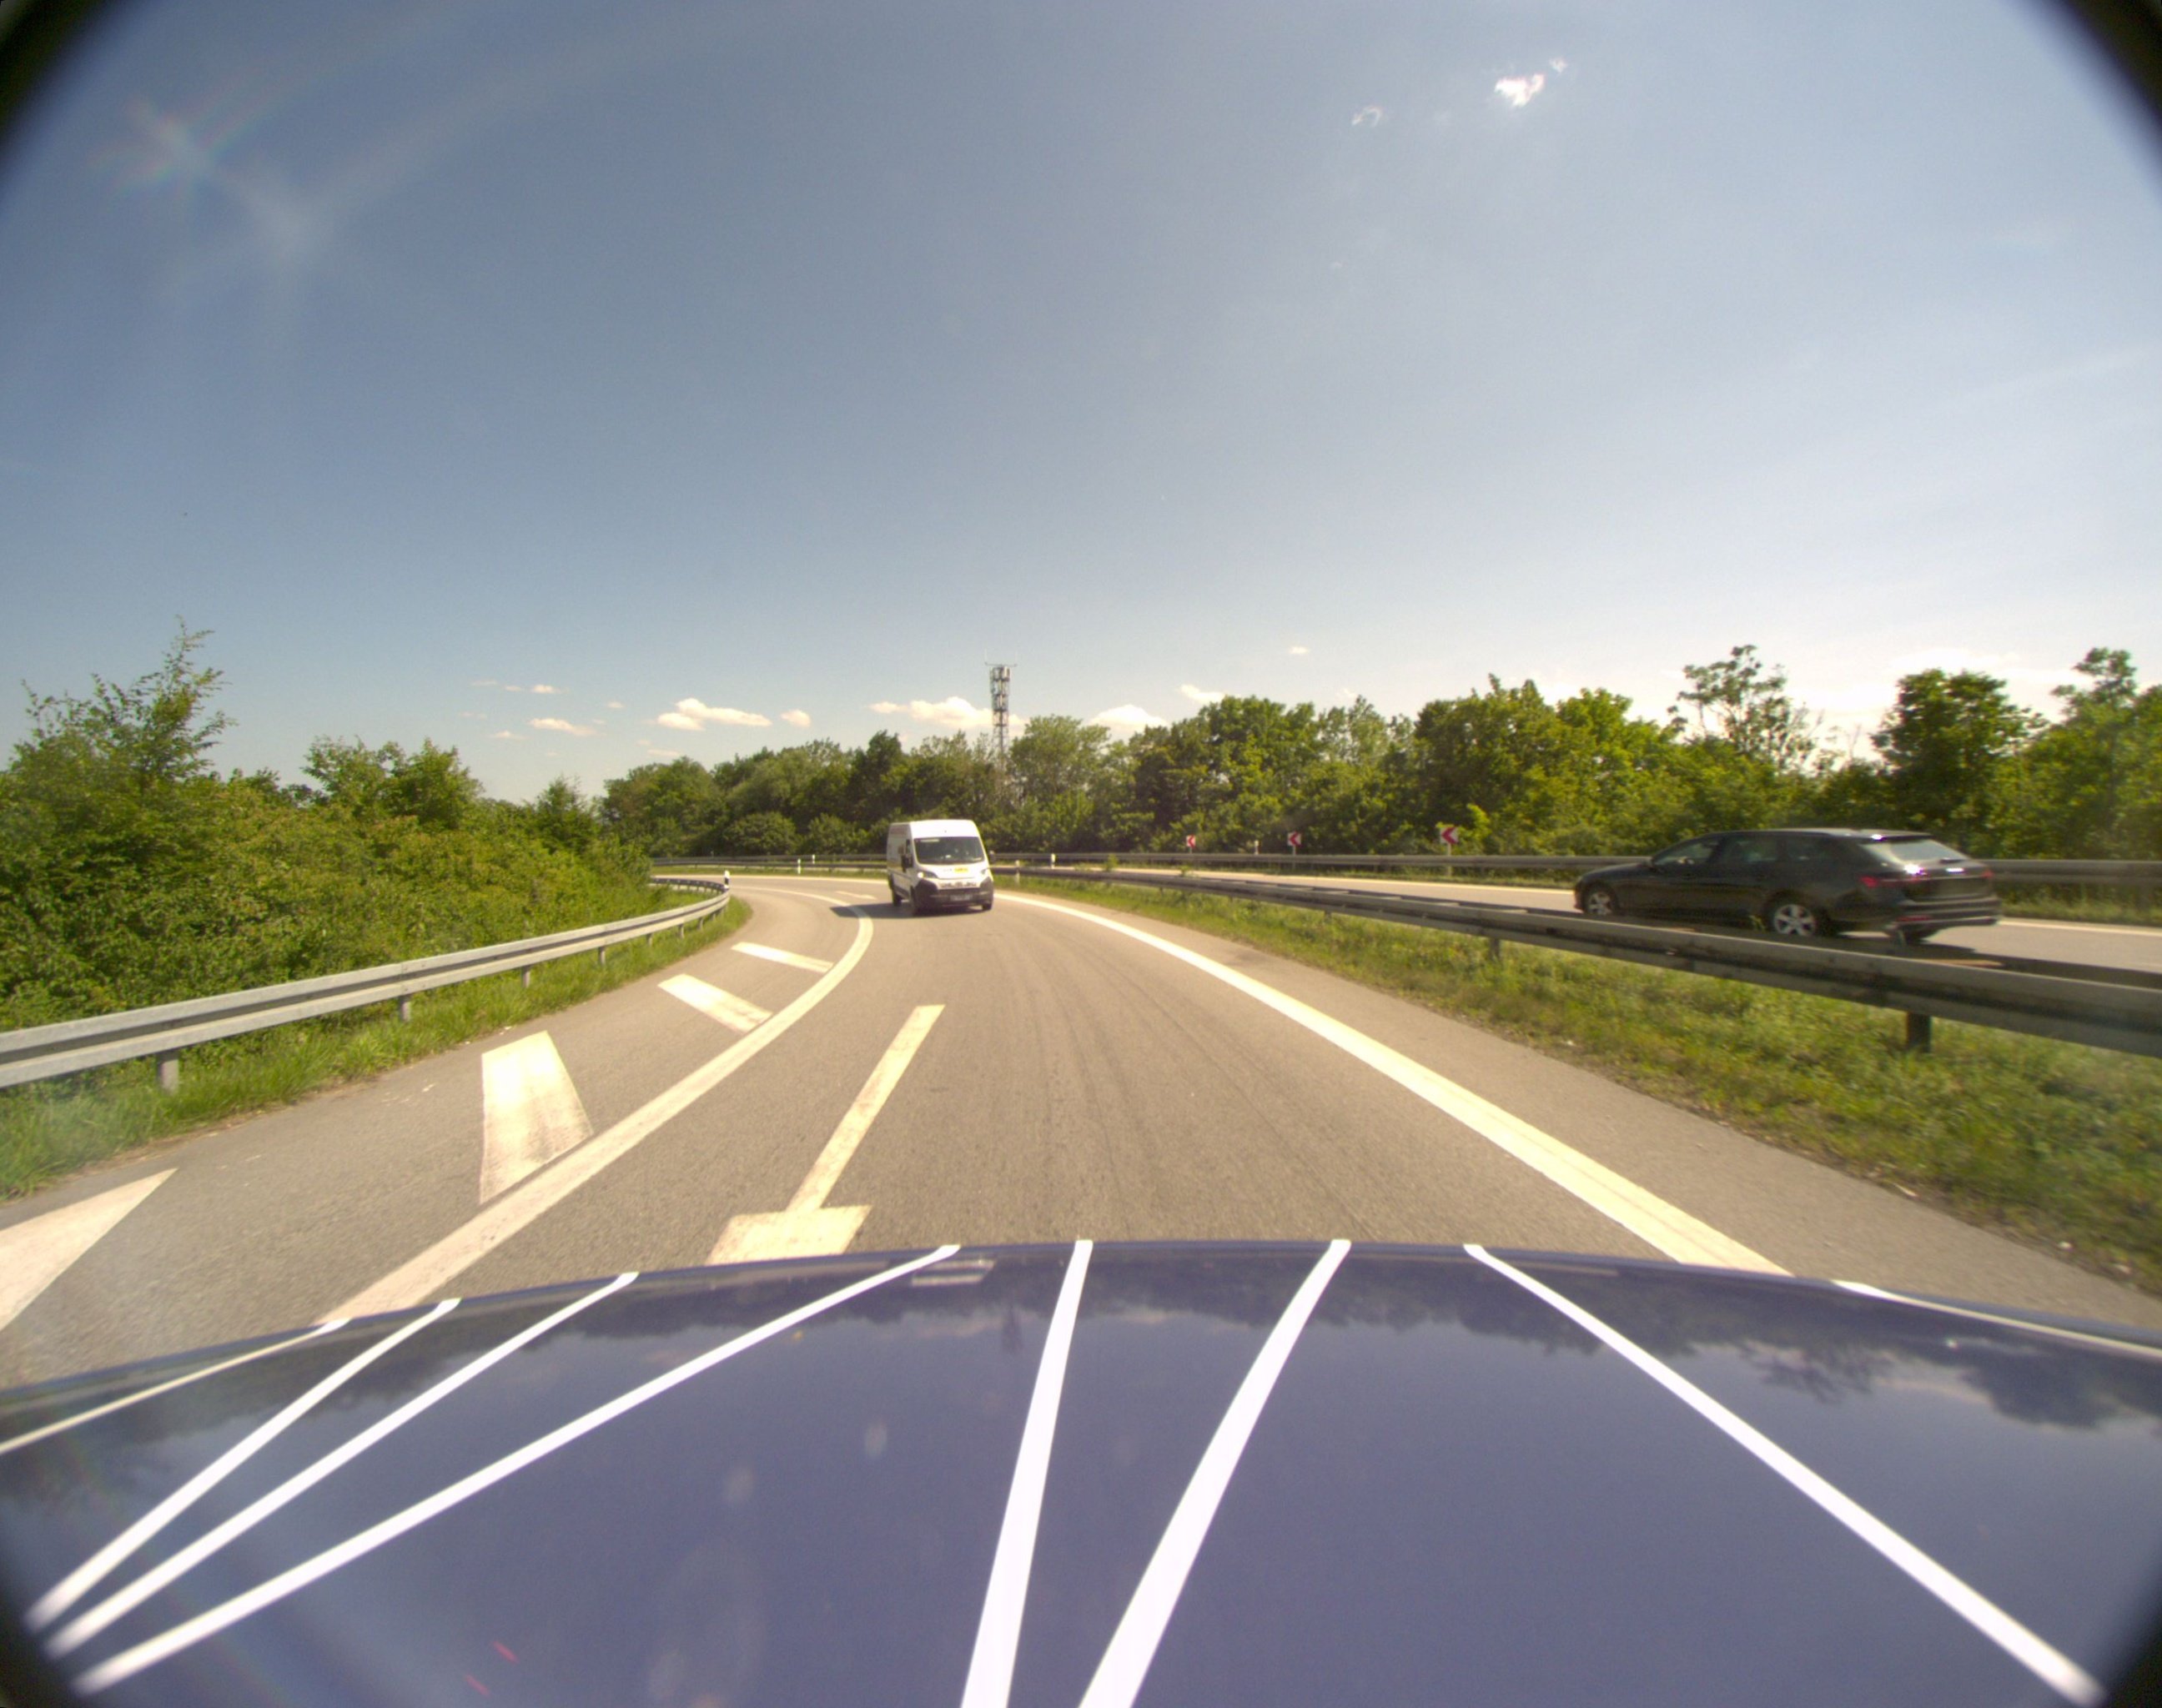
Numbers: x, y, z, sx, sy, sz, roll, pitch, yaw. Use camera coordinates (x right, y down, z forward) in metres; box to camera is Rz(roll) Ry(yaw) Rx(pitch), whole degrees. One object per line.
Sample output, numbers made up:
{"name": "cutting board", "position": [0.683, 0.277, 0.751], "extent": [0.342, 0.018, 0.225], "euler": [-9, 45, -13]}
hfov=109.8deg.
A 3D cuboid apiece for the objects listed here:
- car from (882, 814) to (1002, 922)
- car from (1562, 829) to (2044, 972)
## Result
{"name": "car", "position": [-4.151, 0.294, 21.647], "extent": [2.090, 2.510, 6.225], "euler": [-4, 2, -21]}
{"name": "car", "position": [9.250, 0.472, 10.464], "extent": [1.799, 1.440, 4.698], "euler": [-2, 1, -8]}
